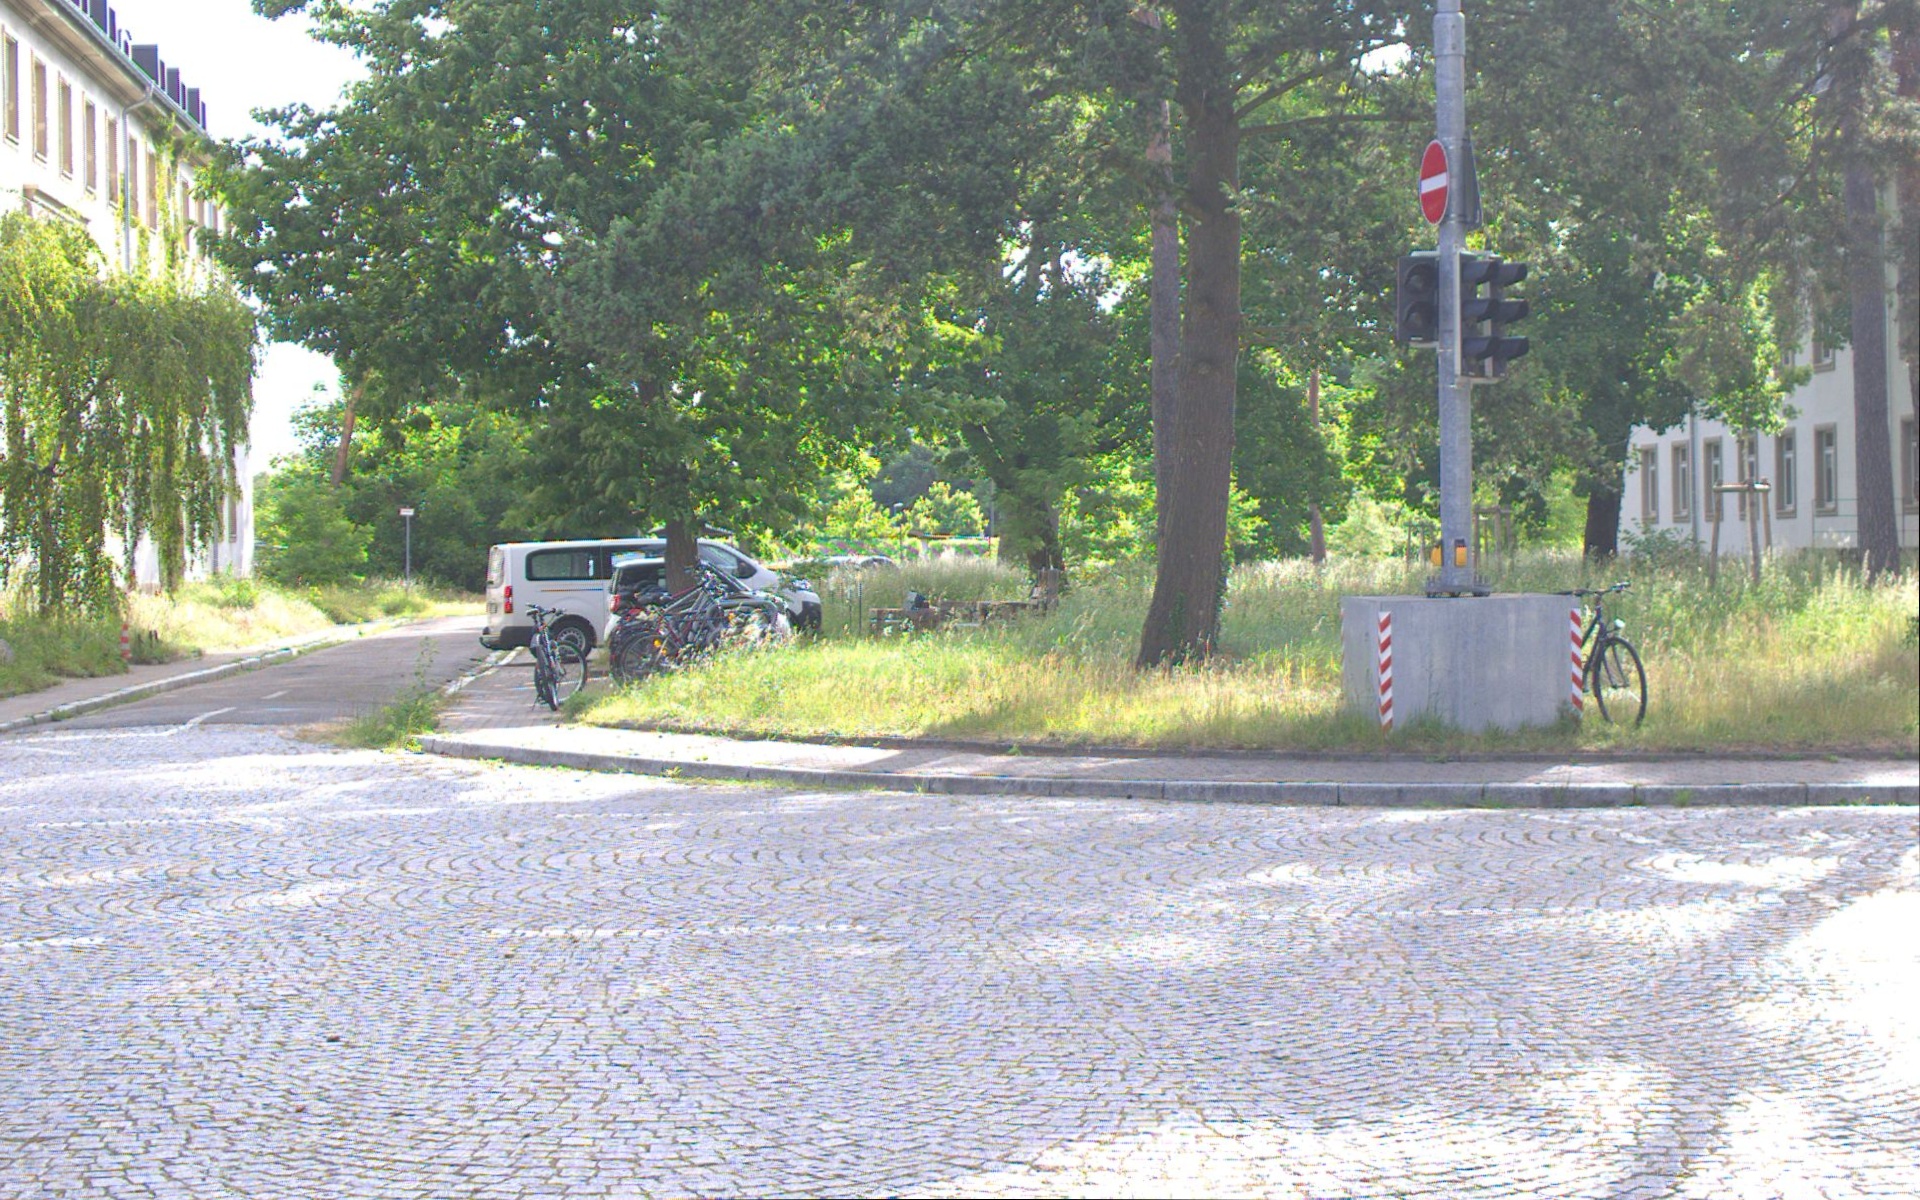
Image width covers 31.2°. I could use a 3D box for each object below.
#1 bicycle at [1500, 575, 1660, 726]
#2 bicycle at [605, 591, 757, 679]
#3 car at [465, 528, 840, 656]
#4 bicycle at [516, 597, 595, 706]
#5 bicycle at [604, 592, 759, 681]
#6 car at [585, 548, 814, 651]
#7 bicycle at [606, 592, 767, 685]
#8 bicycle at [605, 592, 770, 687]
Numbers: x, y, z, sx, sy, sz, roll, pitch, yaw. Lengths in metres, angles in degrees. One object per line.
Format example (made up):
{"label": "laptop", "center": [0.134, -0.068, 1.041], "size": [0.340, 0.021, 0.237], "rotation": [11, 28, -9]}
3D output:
{"label": "bicycle", "center": [4.442, 0.345, 24.749], "size": [0.562, 0.995, 1.752], "rotation": [-1, 2, -9]}
{"label": "bicycle", "center": [-3.377, 0.421, 41.572], "size": [1.792, 0.995, 0.644], "rotation": [-1, 2, -6]}
{"label": "car", "center": [-4.856, -0.140, 54.165], "size": [5.499, 1.909, 2.255], "rotation": [-1, 0, -19]}
{"label": "bicycle", "center": [-4.067, 0.505, 34.634], "size": [0.728, 0.995, 1.799], "rotation": [-1, 2, -5]}
{"label": "bicycle", "center": [-3.314, 0.426, 40.835], "size": [1.792, 0.995, 0.644], "rotation": [-1, 2, -6]}
{"label": "car", "center": [-3.852, -0.004, 50.673], "size": [3.031, 1.460, 1.720], "rotation": [-1, 0, -18]}
{"label": "bicycle", "center": [-3.137, 0.434, 39.344], "size": [1.792, 0.995, 0.644], "rotation": [-1, 2, -6]}
{"label": "bicycle", "center": [-3.039, 0.437, 38.328], "size": [1.792, 0.995, 0.644], "rotation": [-1, 2, -6]}
